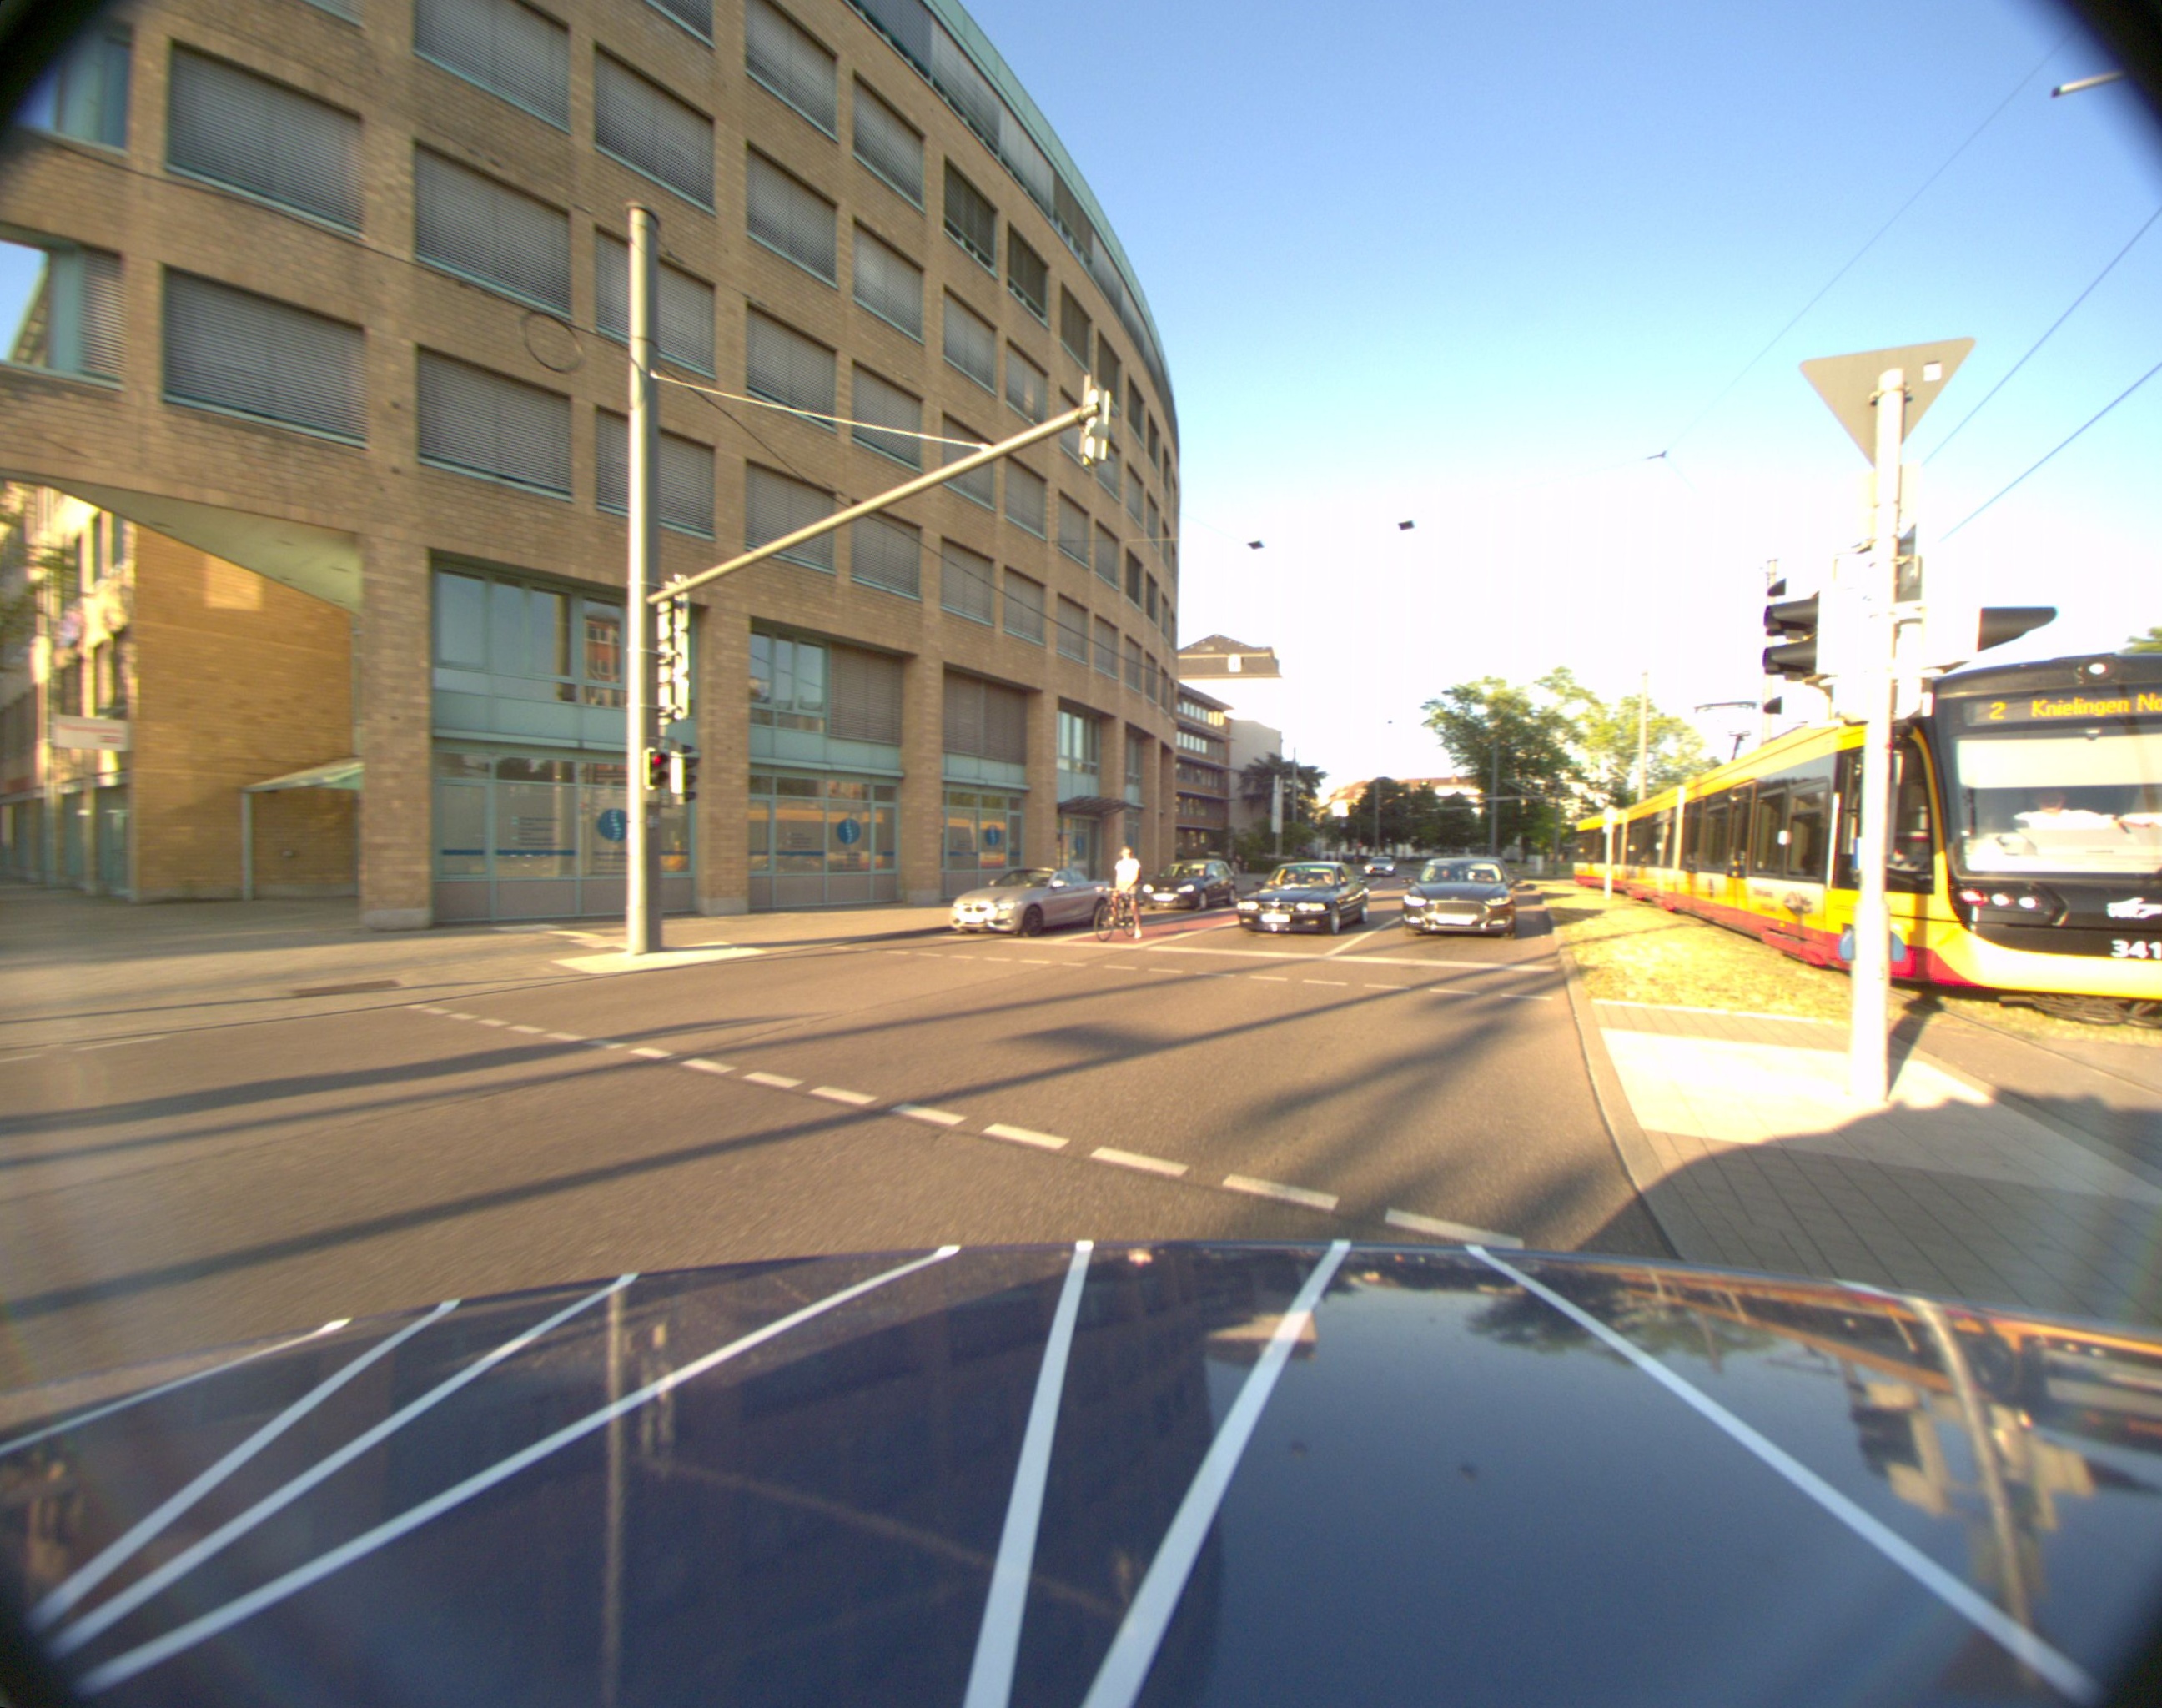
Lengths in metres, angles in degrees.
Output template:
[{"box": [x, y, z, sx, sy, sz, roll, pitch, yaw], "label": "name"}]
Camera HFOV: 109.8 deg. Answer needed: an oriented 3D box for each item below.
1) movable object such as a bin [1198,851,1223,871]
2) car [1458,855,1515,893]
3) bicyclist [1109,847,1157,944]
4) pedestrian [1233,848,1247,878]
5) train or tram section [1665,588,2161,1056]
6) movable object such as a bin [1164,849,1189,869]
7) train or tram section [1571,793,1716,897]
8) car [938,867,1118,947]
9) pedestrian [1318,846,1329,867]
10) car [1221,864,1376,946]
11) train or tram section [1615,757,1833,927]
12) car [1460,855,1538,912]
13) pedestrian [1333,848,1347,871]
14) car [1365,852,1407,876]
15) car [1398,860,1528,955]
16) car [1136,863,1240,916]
[{"box": [9.250, 0.482, 54.228, 1.424, 1.451, 1.335, 1, 1, 27], "label": "movable object such as a bin"}, {"box": [17.383, 0.807, 32.567, 1.994, 1.453, 4.151, 1, 1, 29], "label": "car"}, {"box": [0.994, 0.768, 14.559, 0.634, 1.810, 0.779, 1, 1, 29], "label": "bicyclist"}, {"box": [8.919, 0.494, 42.634, 0.626, 1.672, 0.715, 1, 1, 27], "label": "pedestrian"}, {"box": [11.946, -0.280, 11.727, 2.910, 3.717, 13.244, 1, 1, 30], "label": "train or tram section"}, {"box": [7.061, 0.391, 56.281, 1.424, 1.451, 1.335, 1, 1, 28], "label": "movable object such as a bin"}, {"box": [23.976, -0.365, 33.169, 2.907, 3.717, 12.213, 1, 1, 26], "label": "train or tram section"}, {"box": [-0.982, 1.033, 16.381, 1.744, 1.377, 4.236, 1, 1, 31], "label": "car"}, {"box": [21.215, 0.244, 66.443, 0.727, 1.797, 0.725, 1, 1, 31], "label": "pedestrian"}, {"box": [4.761, 0.946, 16.070, 1.994, 1.377, 4.749, 0, 0, 31], "label": "car"}, {"box": [18.238, -0.293, 22.576, 2.878, 3.717, 12.207, 1, 1, 30], "label": "train or tram section"}, {"box": [13.096, 0.822, 23.654, 1.893, 1.526, 4.714, 1, 1, 31], "label": "car"}, {"box": [21.396, 0.433, 62.745, 0.909, 1.883, 1.128, 1, 1, 26], "label": "pedestrian"}, {"box": [22.787, 0.720, 56.716, 1.994, 1.740, 4.008, 1, 1, 36], "label": "car"}, {"box": [7.622, 0.892, 14.908, 1.886, 1.477, 4.734, 1, 1, 31], "label": "car"}, {"box": [3.309, 0.991, 22.823, 1.755, 1.379, 4.008, 1, 1, 29], "label": "car"}]
